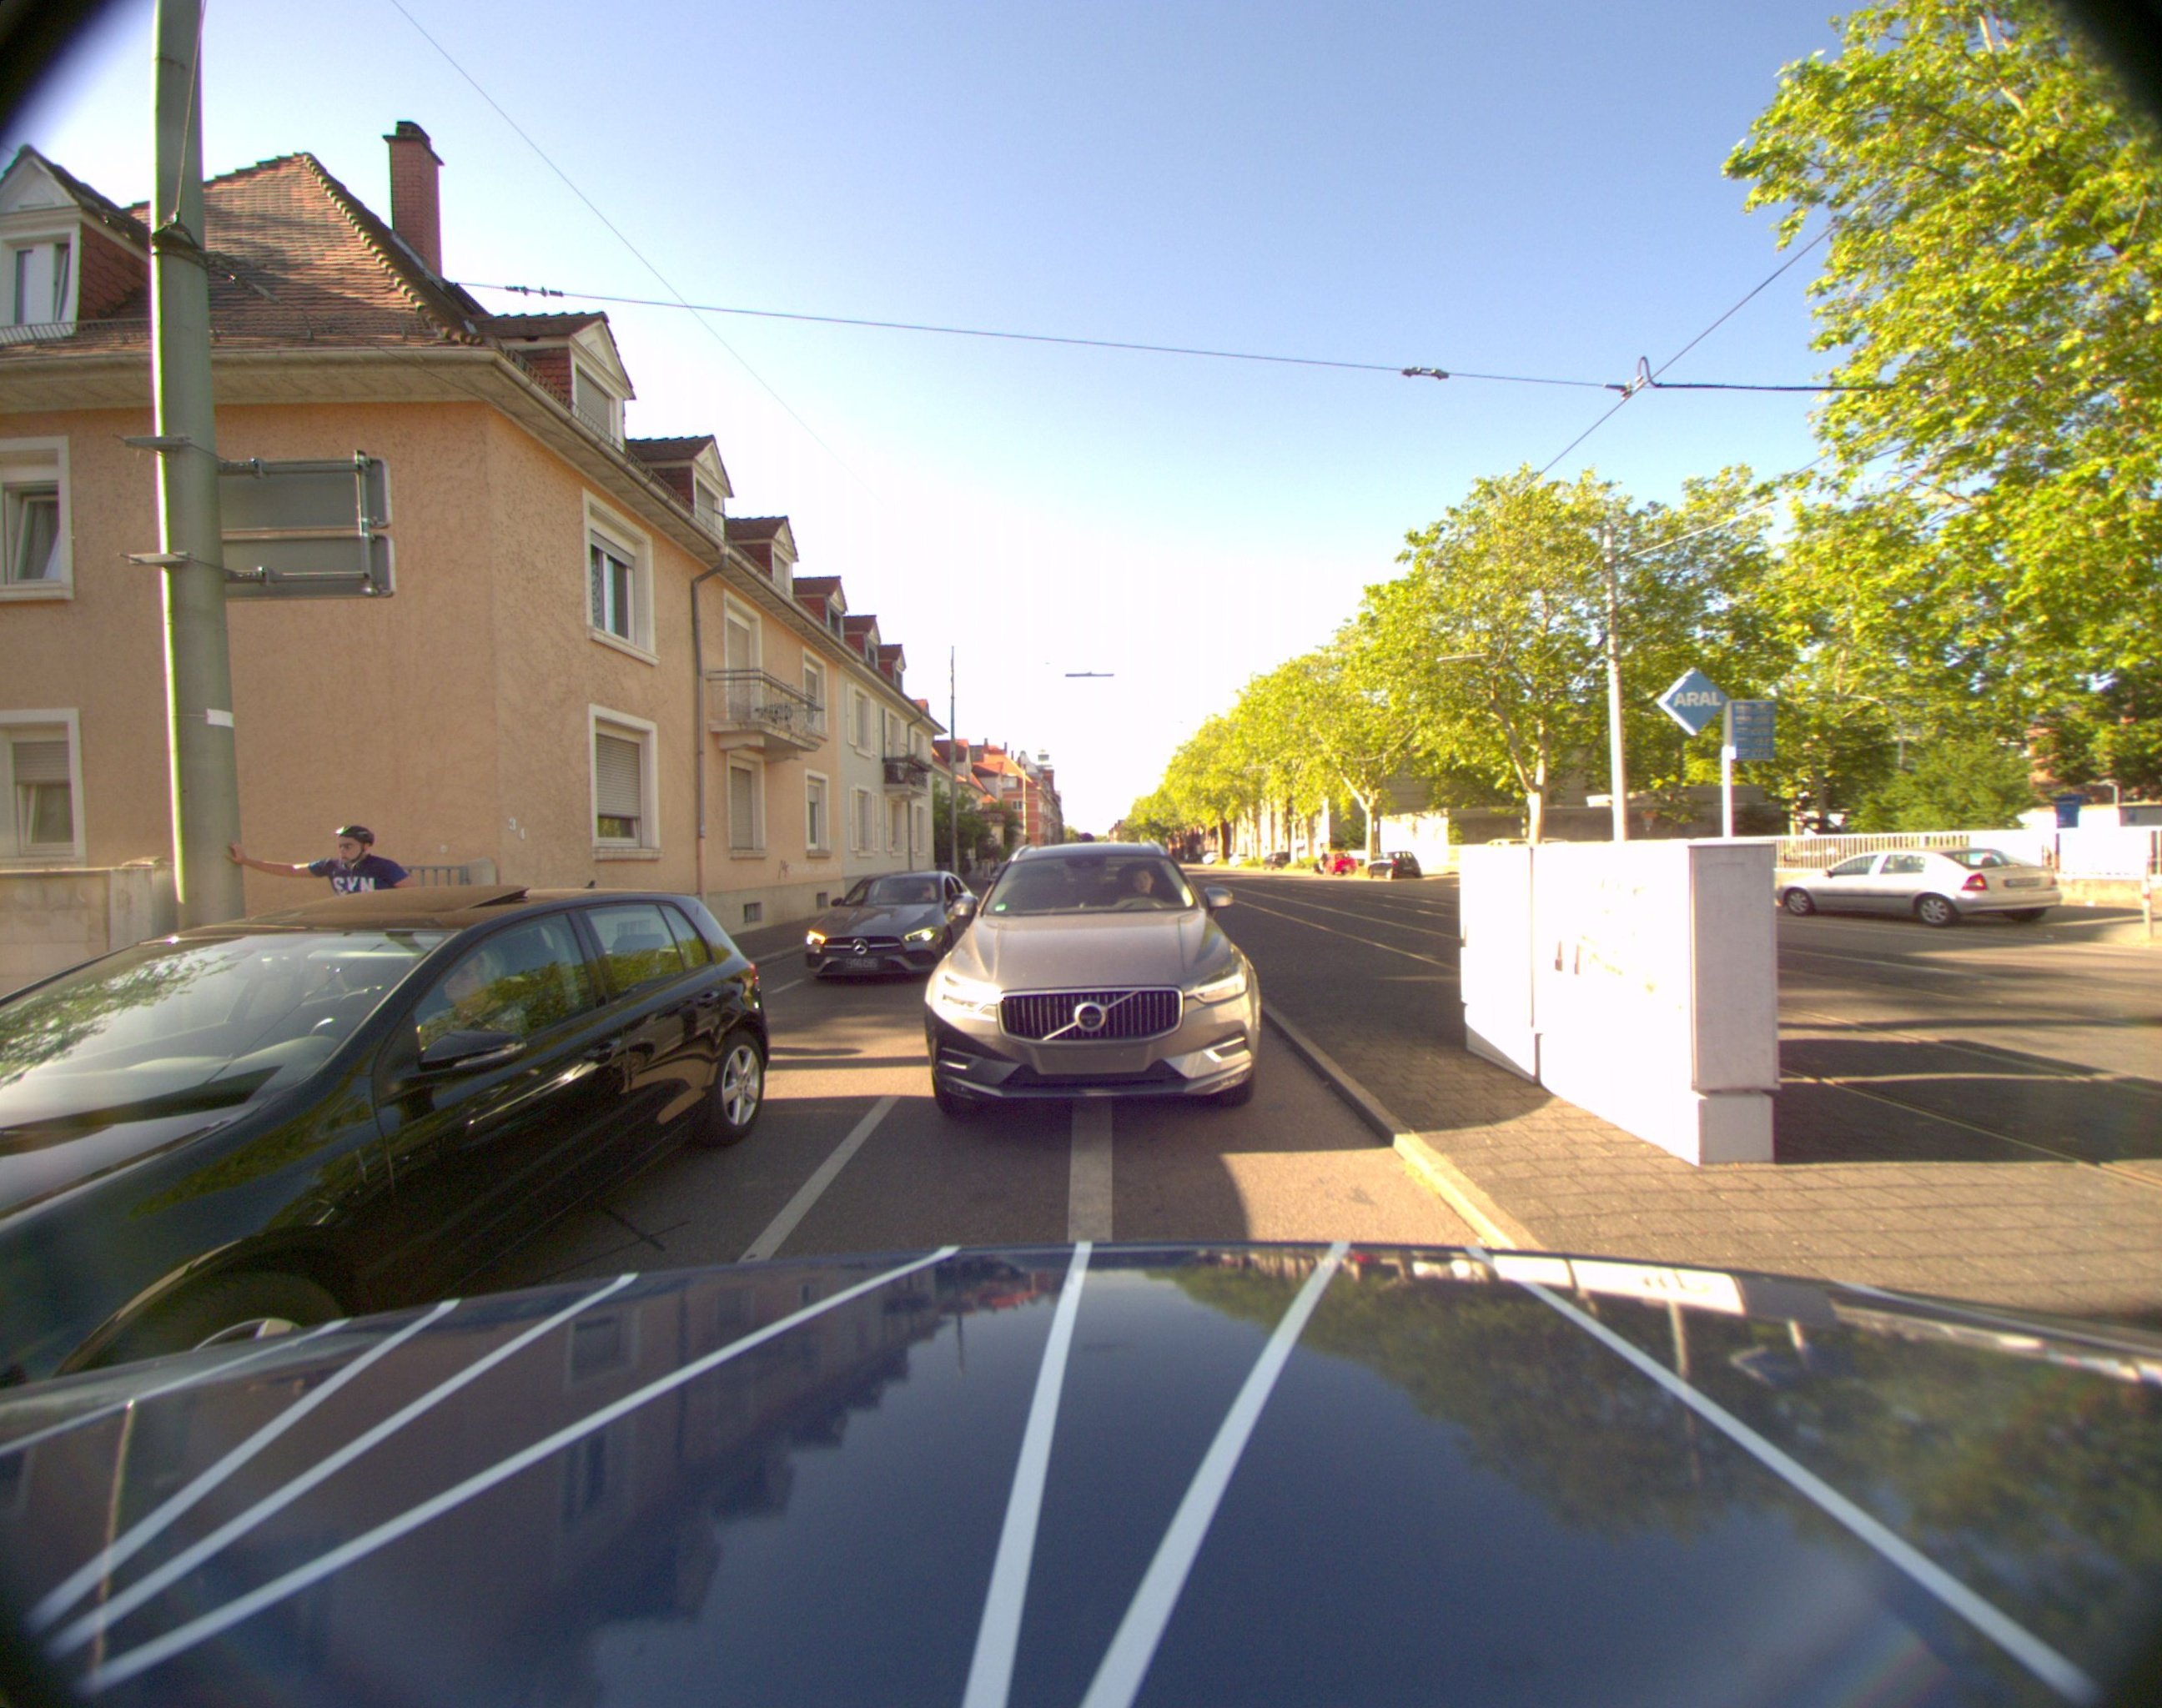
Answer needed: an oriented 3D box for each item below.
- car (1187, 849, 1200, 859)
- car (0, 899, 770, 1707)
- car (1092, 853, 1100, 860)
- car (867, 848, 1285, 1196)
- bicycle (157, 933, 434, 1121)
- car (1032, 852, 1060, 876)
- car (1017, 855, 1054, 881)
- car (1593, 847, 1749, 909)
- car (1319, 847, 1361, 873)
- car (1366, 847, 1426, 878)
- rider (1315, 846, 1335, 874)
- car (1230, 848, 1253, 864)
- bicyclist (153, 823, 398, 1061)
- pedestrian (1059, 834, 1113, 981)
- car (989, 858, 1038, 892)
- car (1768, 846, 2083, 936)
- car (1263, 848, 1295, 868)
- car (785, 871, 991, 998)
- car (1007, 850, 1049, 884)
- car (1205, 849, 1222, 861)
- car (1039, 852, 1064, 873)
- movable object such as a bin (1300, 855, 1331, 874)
[{"bbox_3d":[18.568,0.052,125.556,1.661,1.452,3.730,-4,1,3],"label":"car"},{"bbox_3d":[-2.796,1.044,2.616,1.717,1.430,3.990,-2,1,1],"label":"car"},{"bbox_3d":[3.560,0.542,185.142,1.851,1.640,3.999,-2,1,1],"label":"car"},{"bbox_3d":[0.126,0.797,5.778,1.924,1.579,4.387,-2,1,4],"label":"car"},{"bbox_3d":[-5.905,1.239,5.858,0.556,1.069,1.624,2,0,-7],"label":"bicycle"},{"bbox_3d":[-2.773,0.770,60.914,1.825,1.701,4.334,-2,1,1],"label":"car"},{"bbox_3d":[-2.769,0.841,46.990,1.825,1.424,4.334,-2,1,1],"label":"car"},{"bbox_3d":[16.364,0.599,21.311,1.619,1.436,3.606,-4,1,3],"label":"car"},{"bbox_3d":[16.980,0.383,50.012,1.661,1.486,3.377,-4,1,3],"label":"car"},{"bbox_3d":[16.843,0.444,40.798,1.723,1.436,3.769,-5,1,3],"label":"car"},{"bbox_3d":[14.660,0.378,45.633,0.725,1.639,1.106,-2,1,-4],"label":"rider"},{"bbox_3d":[17.631,0.241,83.466,1.754,1.532,3.878,-4,1,3],"label":"car"},{"bbox_3d":[-6.106,0.641,5.823,1.021,1.684,0.729,2,0,-7],"label":"bicyclist"},{"bbox_3d":[0.068,0.675,9.868,0.609,1.832,0.599,-2,1,1],"label":"pedestrian"},{"bbox_3d":[-3.223,0.961,37.140,1.825,1.422,4.334,-2,1,1],"label":"car"},{"bbox_3d":[16.205,0.628,14.951,1.687,1.358,3.989,-6,0,1],"label":"car"},{"bbox_3d":[17.160,0.322,65.965,1.754,1.582,3.878,-4,1,3],"label":"car"},{"bbox_3d":[-2.614,1.029,11.468,1.825,1.422,4.491,-2,-1,1],"label":"car"},{"bbox_3d":[-2.899,0.687,42.395,1.825,1.701,4.334,-2,1,1],"label":"car"},{"bbox_3d":[17.587,0.096,100.680,1.661,1.452,3.730,-4,1,3],"label":"car"},{"bbox_3d":[-2.585,0.692,67.280,1.825,1.701,4.334,-2,1,1],"label":"car"},{"bbox_3d":[14.481,0.638,46.938,1.178,1.097,1.834,-2,1,-4],"label":"movable object such as a bin"}]
